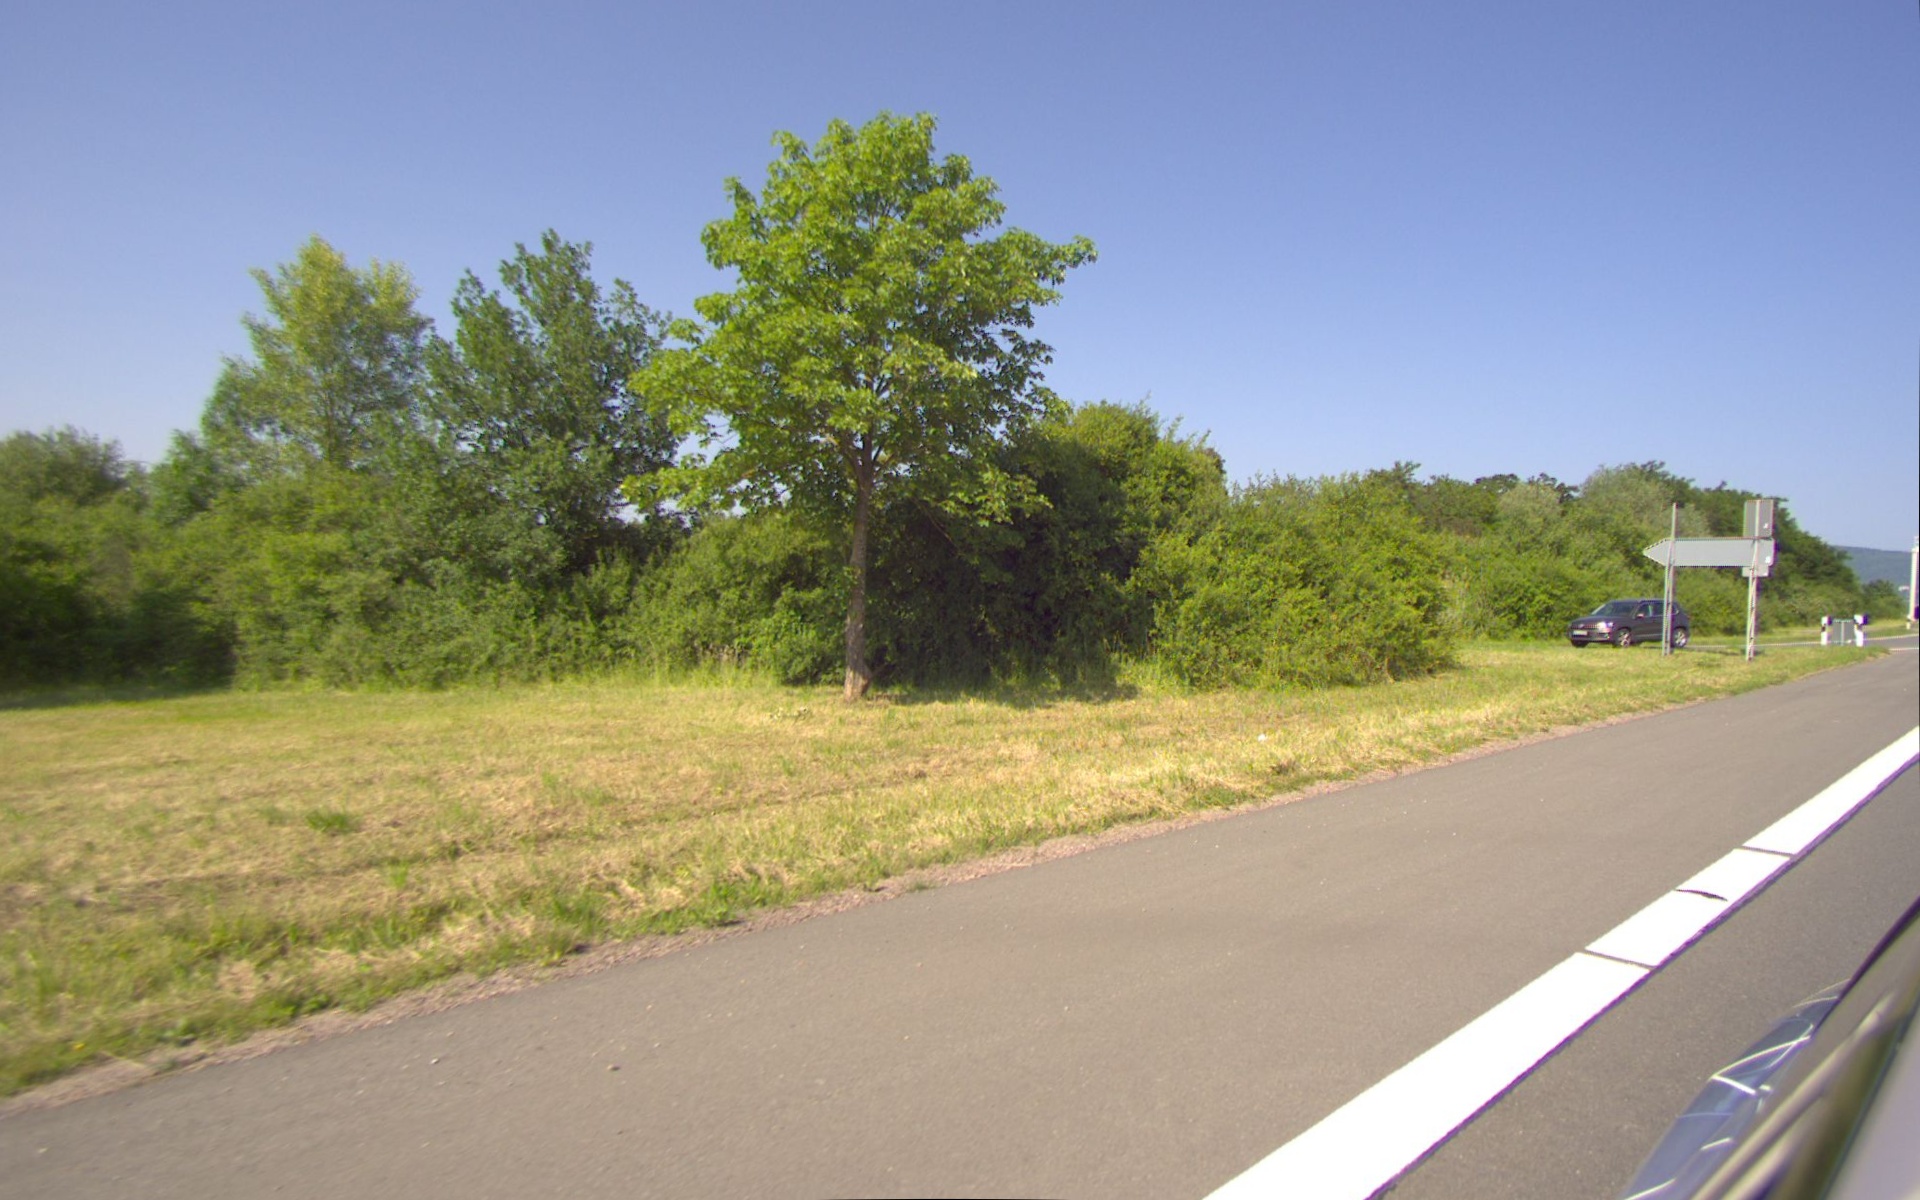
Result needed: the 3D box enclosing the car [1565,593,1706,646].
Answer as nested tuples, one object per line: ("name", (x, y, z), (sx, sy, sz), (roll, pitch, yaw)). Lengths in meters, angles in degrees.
("car", (22.869, 0.658, 34.280), (4.061, 1.668, 1.794), (-1, -2, -19))
